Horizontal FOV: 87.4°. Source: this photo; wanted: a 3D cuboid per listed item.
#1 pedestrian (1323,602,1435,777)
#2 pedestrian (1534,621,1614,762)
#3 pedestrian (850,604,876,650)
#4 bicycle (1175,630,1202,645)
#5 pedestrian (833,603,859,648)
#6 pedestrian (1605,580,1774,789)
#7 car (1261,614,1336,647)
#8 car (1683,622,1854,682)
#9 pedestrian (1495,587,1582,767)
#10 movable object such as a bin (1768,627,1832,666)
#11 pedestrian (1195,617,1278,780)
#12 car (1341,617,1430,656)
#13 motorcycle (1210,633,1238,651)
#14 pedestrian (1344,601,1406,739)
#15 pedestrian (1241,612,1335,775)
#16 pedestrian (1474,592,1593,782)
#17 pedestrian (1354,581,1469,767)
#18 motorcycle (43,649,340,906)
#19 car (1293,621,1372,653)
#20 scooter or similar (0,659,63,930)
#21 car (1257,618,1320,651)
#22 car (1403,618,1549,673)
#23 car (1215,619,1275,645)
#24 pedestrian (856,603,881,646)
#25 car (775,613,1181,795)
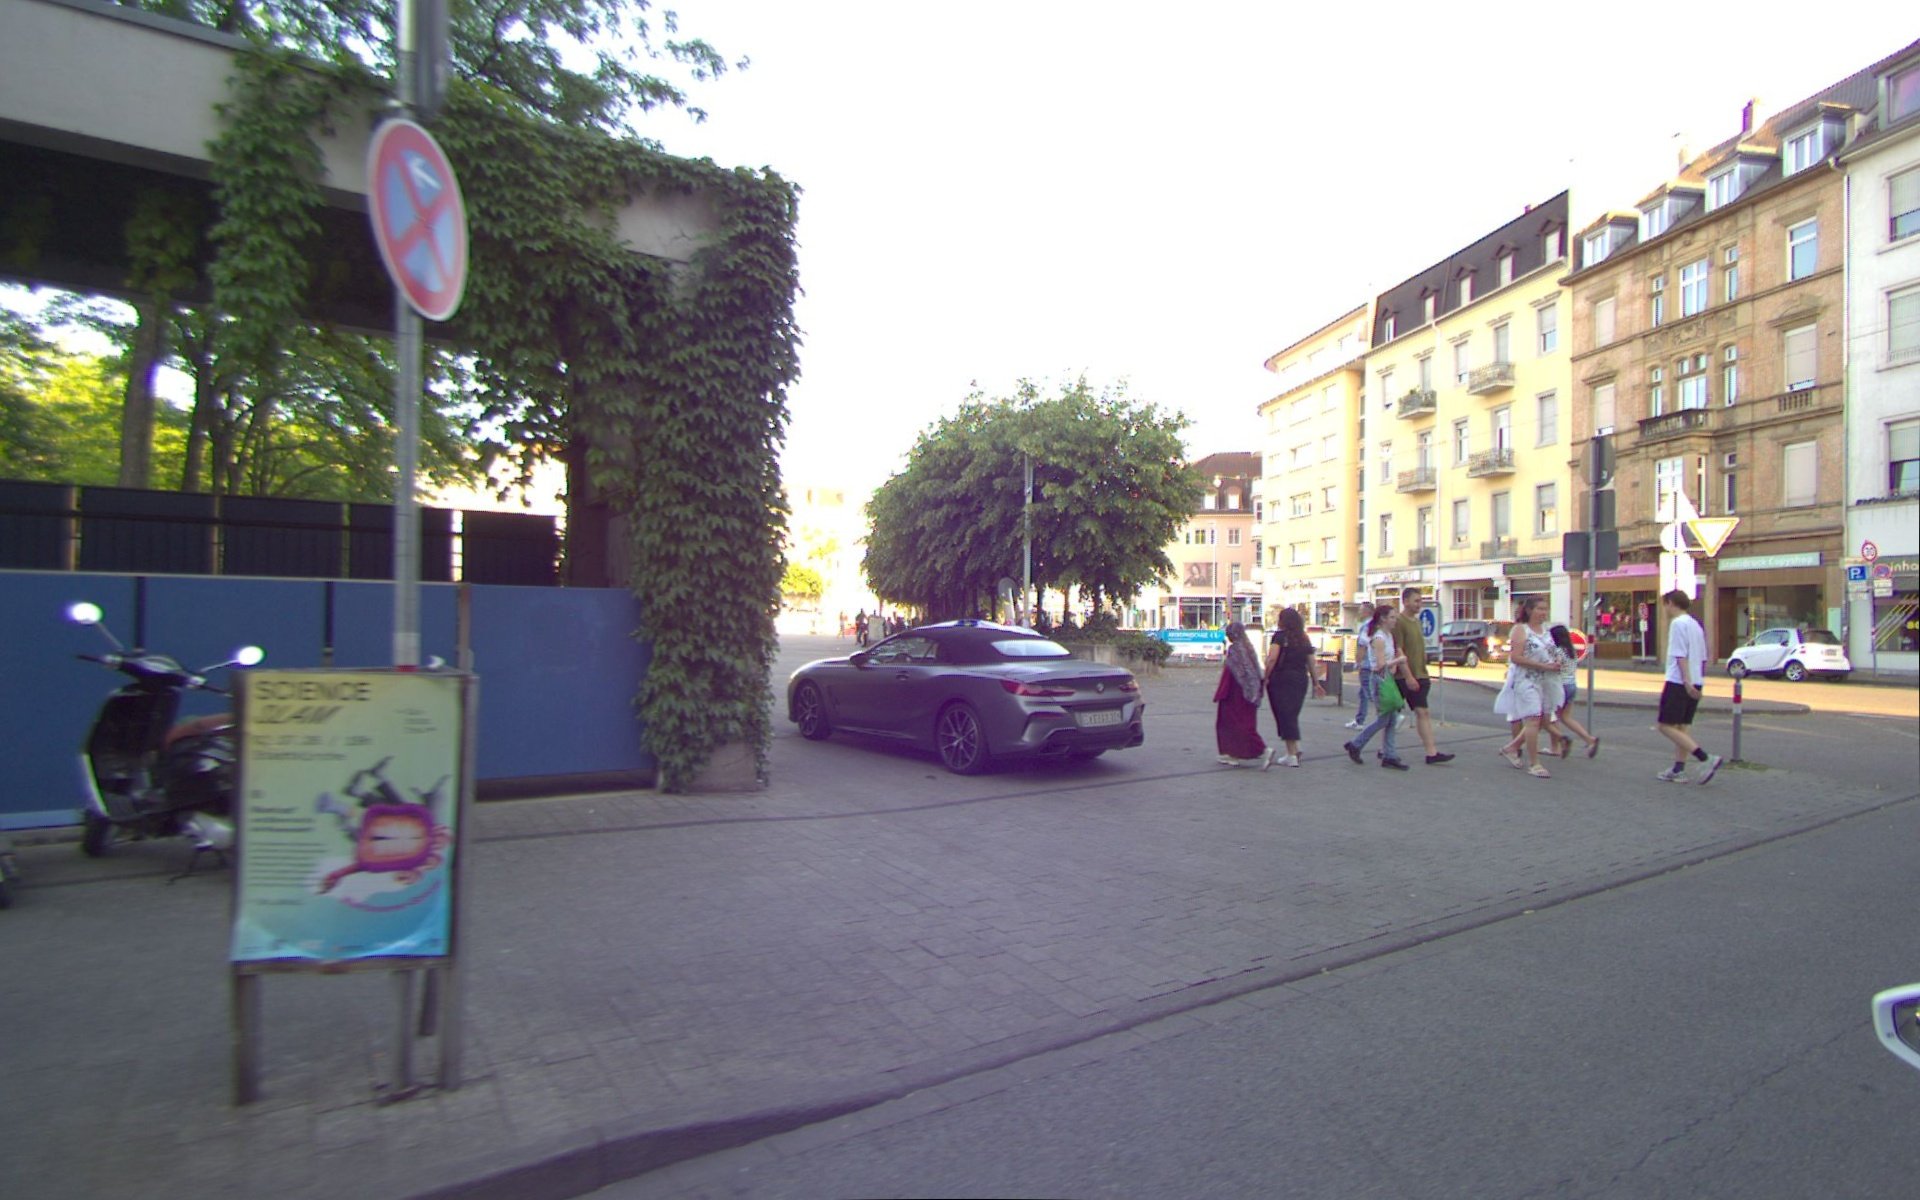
[{"bbox_3d":[4.299,0.880,10.314,0.875,1.691,0.707,1,0,-38],"label":"pedestrian"},{"bbox_3d":[6.882,1.000,11.290,0.703,1.506,0.603,1,0,28],"label":"pedestrian"},{"bbox_3d":[-4.446,1.240,46.308,0.896,2.040,0.919,1,-1,14],"label":"pedestrian"},{"bbox_3d":[17.605,2.915,77.468,1.857,1.127,0.760,2,-1,-12],"label":"bicycle"},{"bbox_3d":[-5.272,1.175,46.507,0.896,2.040,0.919,1,-1,14],"label":"pedestrian"},{"bbox_3d":[6.935,0.762,9.603,0.965,1.878,0.890,1,0,7],"label":"pedestrian"},{"bbox_3d":[17.681,1.575,52.652,1.785,1.538,4.224,1,0,-13],"label":"car"},{"bbox_3d":[24.407,1.530,30.520,1.674,1.606,3.994,1,0,-8],"label":"car"},{"bbox_3d":[6.373,0.815,11.108,0.767,1.900,0.713,1,0,28],"label":"pedestrian"},{"bbox_3d":[27.426,1.507,32.808,0.853,1.202,1.396,1,-1,-9],"label":"movable object such as a bin"},{"bbox_3d":[2.811,0.964,10.187,0.667,1.563,0.592,1,0,28],"label":"pedestrian"},{"bbox_3d":[21.016,1.768,49.815,1.854,1.768,4.652,1,0,-9],"label":"car"},{"bbox_3d":[19.018,3.031,72.362,1.786,1.280,0.714,0,-1,-12],"label":"motorcycle"},{"bbox_3d":[5.576,0.912,13.482,0.675,1.769,0.715,1,0,28],"label":"pedestrian"},{"bbox_3d":[3.388,0.940,10.439,0.783,1.603,0.731,1,0,7],"label":"pedestrian"},{"bbox_3d":[5.819,0.848,10.235,0.865,1.827,0.715,1,0,15],"label":"pedestrian"},{"bbox_3d":[4.764,0.763,10.638,0.836,1.902,0.714,1,0,-6],"label":"pedestrian"},{"bbox_3d":[-4.193,0.880,5.449,1.795,1.141,0.536,1,0,27],"label":"motorcycle"},{"bbox_3d":[20.444,2.008,55.347,1.985,1.564,4.862,1,0,-8],"label":"car"},{"bbox_3d":[-4.755,0.881,4.857,1.475,1.102,0.409,1,0,40],"label":"scooter or similar"},{"bbox_3d":[19.855,2.054,60.891,1.840,1.785,4.401,1,0,-9],"label":"car"},{"bbox_3d":[18.002,1.532,35.340,2.062,1.675,4.603,0,0,-14],"label":"car"},{"bbox_3d":[18.950,2.104,67.057,1.964,1.634,4.795,1,-1,-10],"label":"car"},{"bbox_3d":[-4.413,1.196,48.487,0.896,2.040,0.919,1,-1,14],"label":"pedestrian"},{"bbox_3d":[-0.023,0.920,10.905,2.088,1.450,4.400,1,0,-39],"label":"car"}]
